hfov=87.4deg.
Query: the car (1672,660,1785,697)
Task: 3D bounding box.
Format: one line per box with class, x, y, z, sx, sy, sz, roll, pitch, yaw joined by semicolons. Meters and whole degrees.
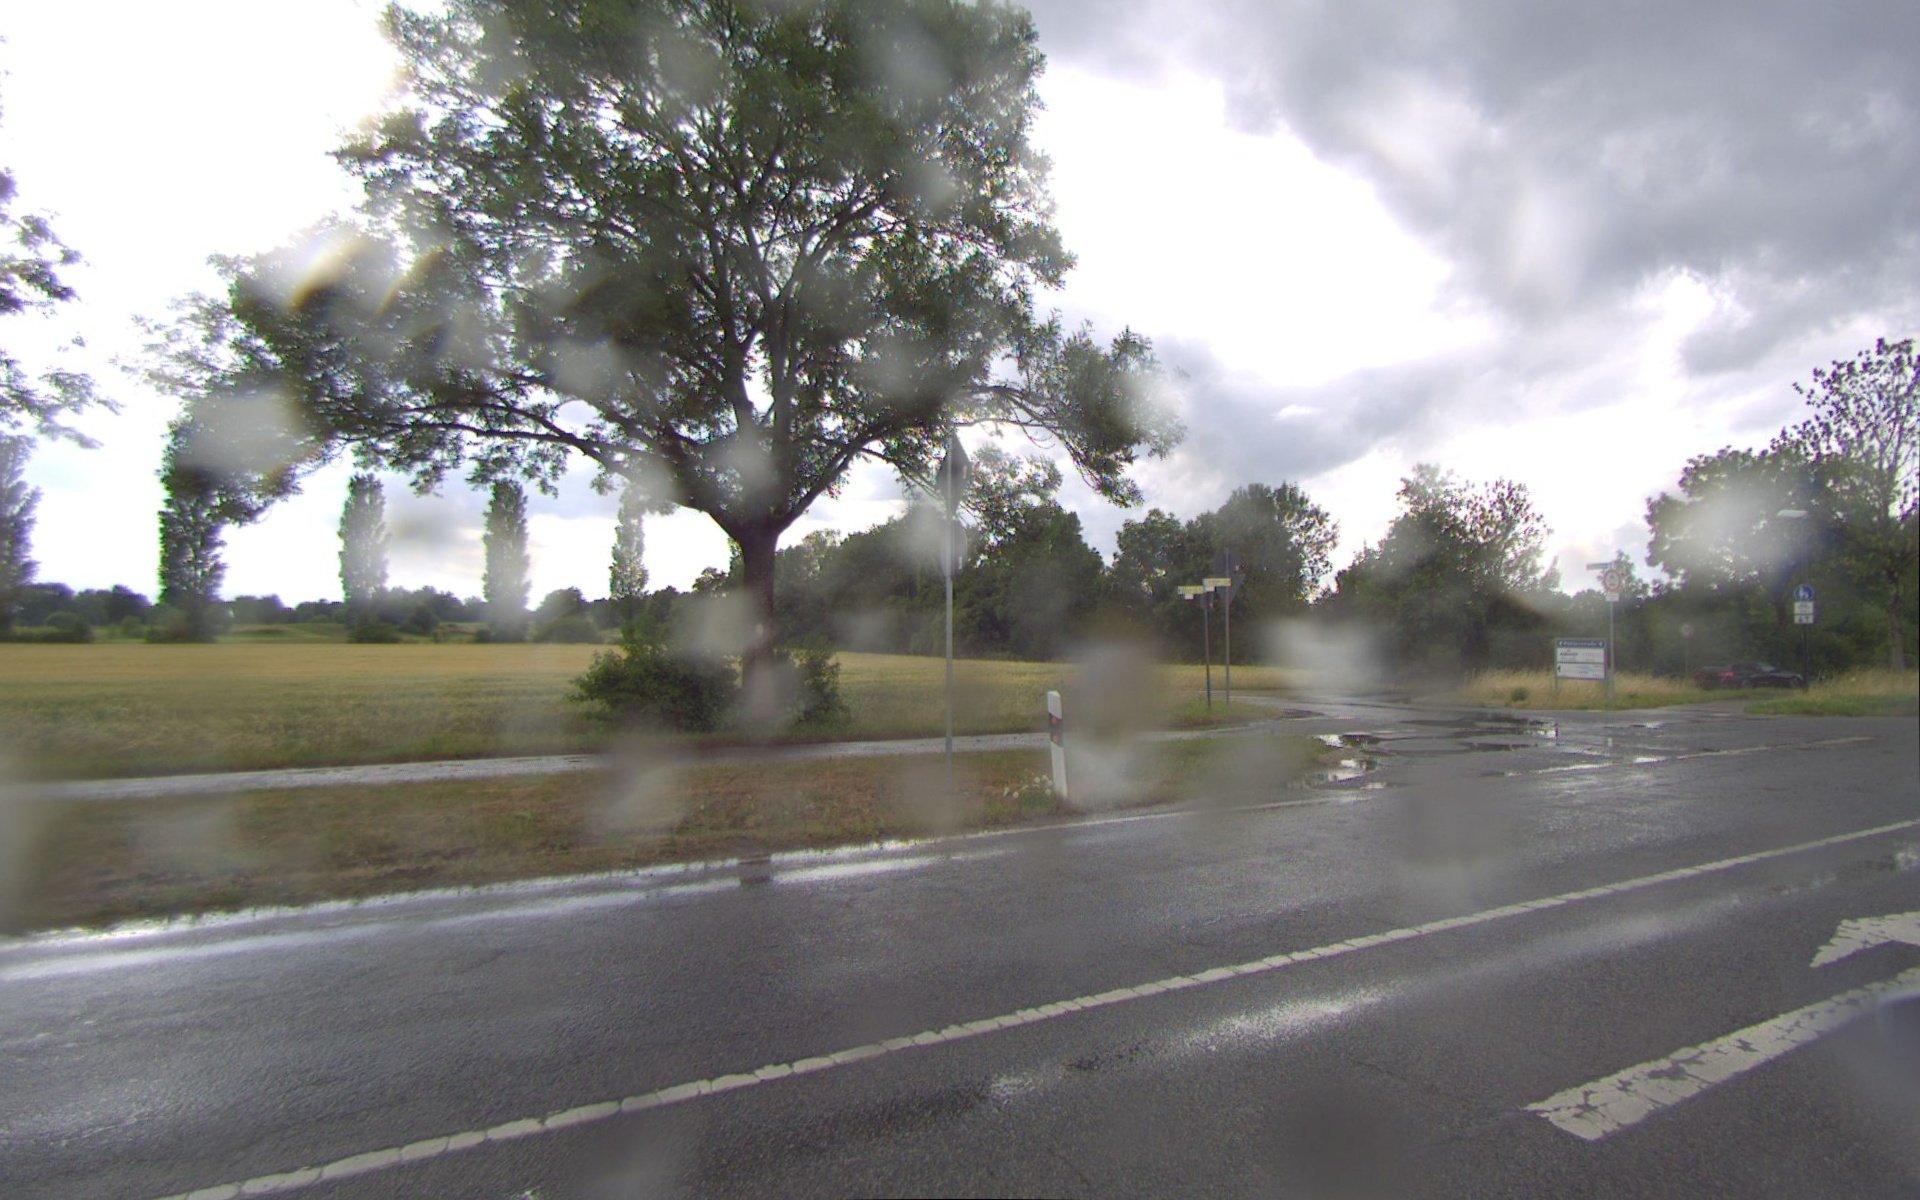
car;36.747;3.731;48.029;4.566;1.568;2.297;2;0;-23
